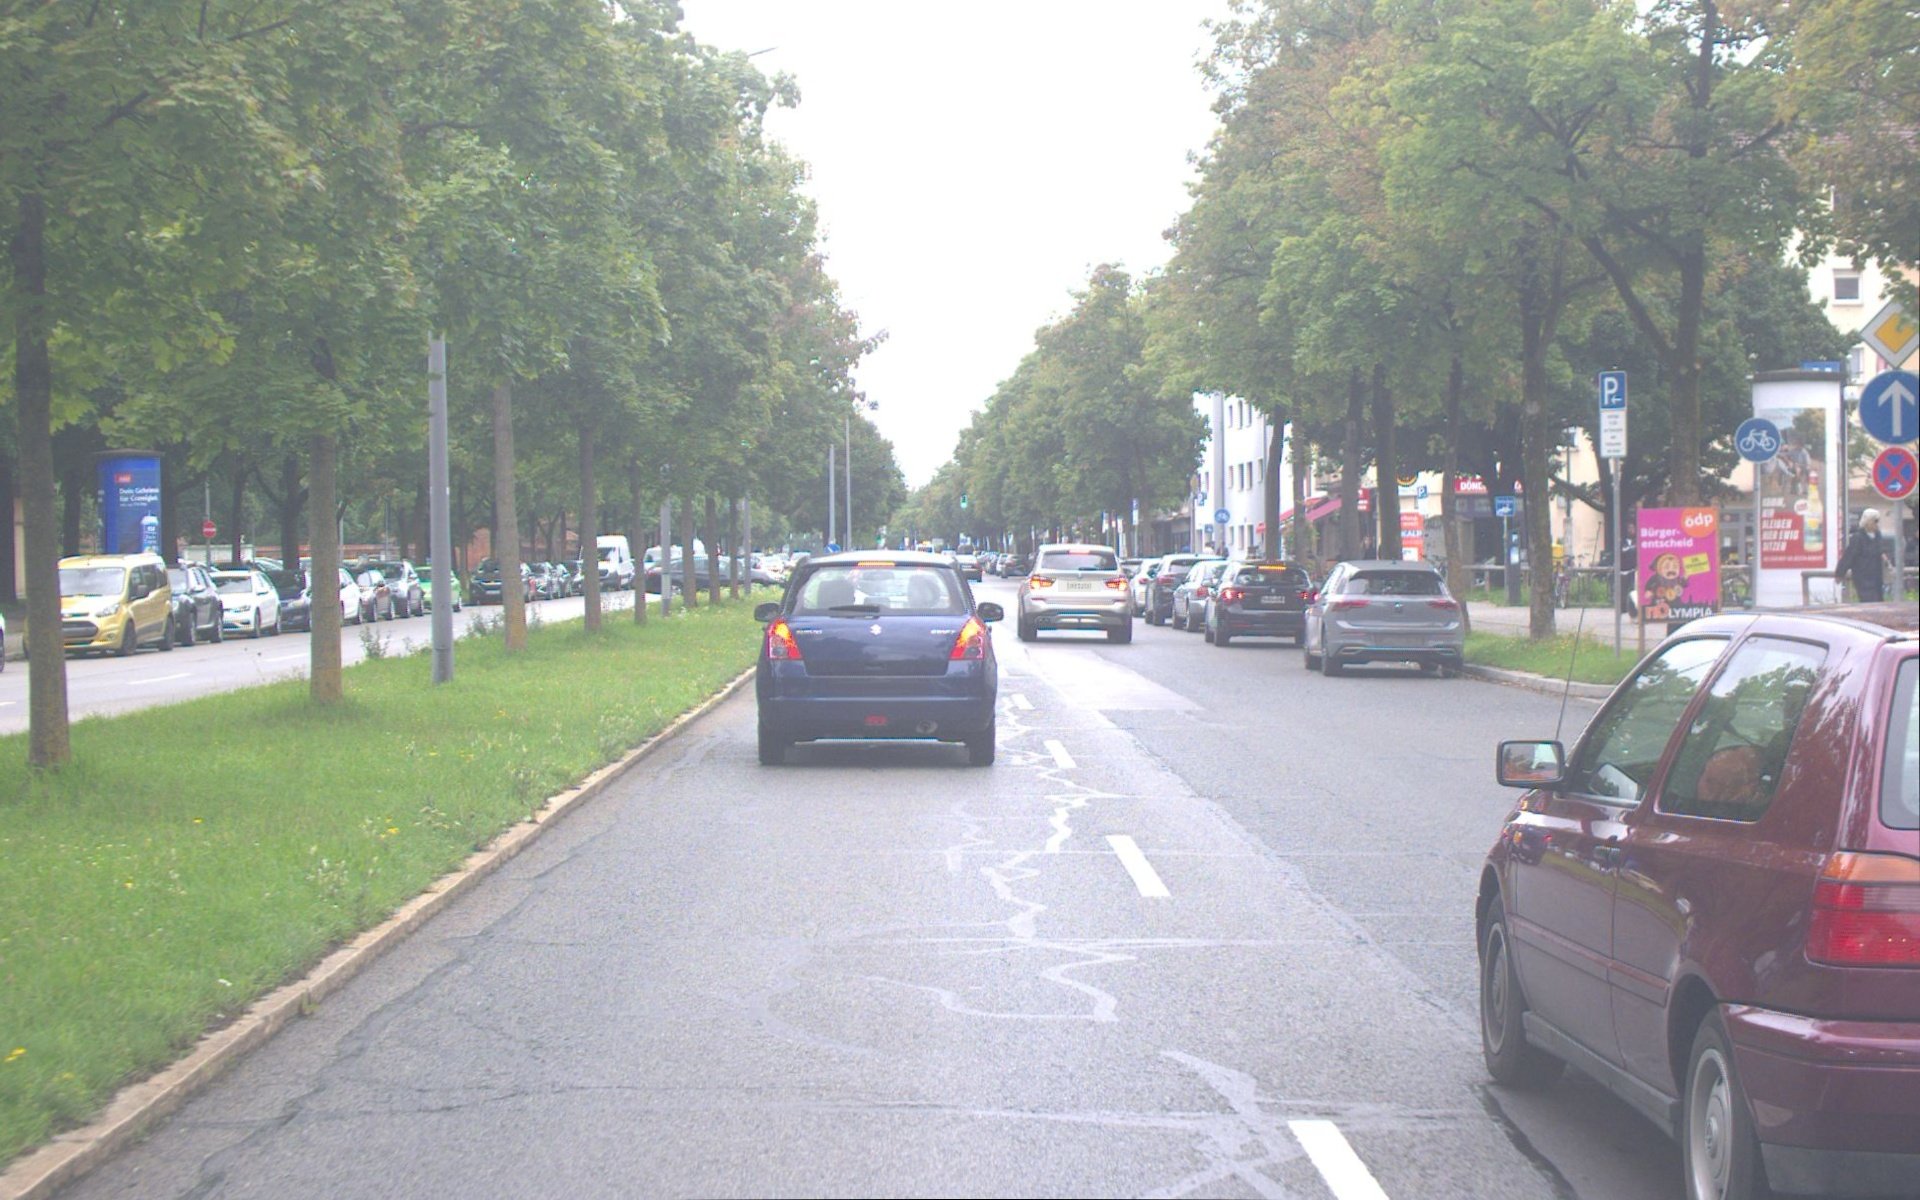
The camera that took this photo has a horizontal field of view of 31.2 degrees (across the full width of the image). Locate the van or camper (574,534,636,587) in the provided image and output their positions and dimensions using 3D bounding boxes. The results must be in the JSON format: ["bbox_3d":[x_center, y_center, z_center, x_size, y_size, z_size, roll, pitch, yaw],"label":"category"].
[{"bbox_3d":[-16.844,-1.866,163.478,2.117,2.473,7.449,1,0,0],"label":"van or camper"}]

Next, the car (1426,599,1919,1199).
[{"bbox_3d":[2.306,0.723,8.366,1.682,1.379,3.919,1,1,-2],"label":"car"}]

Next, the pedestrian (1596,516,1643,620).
[{"bbox_3d":[11.285,-0.553,58.837,0.639,1.743,0.849,-2,1,4],"label":"pedestrian"}]

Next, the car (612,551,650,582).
[{"bbox_3d":[-16.842,-1.726,175.964,1.632,1.577,3.879,0,0,-1],"label":"car"}]

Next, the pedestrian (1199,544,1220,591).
[{"bbox_3d":[10.687,-1.404,147.275,0.794,2.007,1.006,0,1,0],"label":"pedestrian"}]

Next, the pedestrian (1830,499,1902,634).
[{"bbox_3d":[11.673,-0.434,44.299,0.639,1.724,0.601,0,0,-34],"label":"pedestrian"}]

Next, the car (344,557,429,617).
[{"bbox_3d":[-16.044,-0.381,96.353,1.690,1.581,4.371,-2,1,-1],"label":"car"}]

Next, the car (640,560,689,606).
[{"bbox_3d":[-12.975,-0.751,151.122,1.799,1.927,4.994,-2,1,-1],"label":"car"}]

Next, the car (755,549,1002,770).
[{"bbox_3d":[-0.610,0.372,25.320,1.682,1.496,3.919,0,1,-2],"label":"car"}]

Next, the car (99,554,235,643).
[{"bbox_3d":[-15.692,-0.061,68.209,1.736,1.640,4.256,-2,1,-1],"label":"car"}]

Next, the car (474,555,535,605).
[{"bbox_3d":[-16.148,-0.713,122.012,1.716,1.735,3.879,0,0,-1],"label":"car"}]

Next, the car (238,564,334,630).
[{"bbox_3d":[-15.575,-0.082,79.582,1.613,1.412,3.898,-2,1,-3],"label":"car"}]

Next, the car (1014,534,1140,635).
[{"bbox_3d":[1.983,-0.292,59.311,1.865,1.655,4.408,1,1,-2],"label":"car"}]

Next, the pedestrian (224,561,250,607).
[{"bbox_3d":[-24.267,-0.529,115.421,0.727,1.528,0.721,1,0,0],"label":"pedestrian"}]

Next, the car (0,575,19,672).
[{"bbox_3d":[-15.516,0.409,50.957,1.857,1.467,4.875,-2,1,-1],"label":"car"}]

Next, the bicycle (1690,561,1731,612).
[{"bbox_3d":[15.471,-0.283,70.918,0.431,1.025,1.884,-1,1,0],"label":"bicycle"}]

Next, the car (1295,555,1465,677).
[{"bbox_3d":[5.356,0.165,44.257,1.682,1.460,4.115,1,1,0],"label":"car"}]

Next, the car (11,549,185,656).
[{"bbox_3d":[-15.387,0.013,61.606,1.814,1.777,4.818,-2,1,0],"label":"car"}]

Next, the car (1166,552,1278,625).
[{"bbox_3d":[5.188,-0.252,68.444,1.635,1.381,4.245,1,1,-3],"label":"car"}]

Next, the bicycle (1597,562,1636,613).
[{"bbox_3d":[13.600,-0.261,71.247,0.431,1.025,1.884,-1,1,0],"label":"bicycle"}]

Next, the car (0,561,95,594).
[{"bbox_3d":[-41.140,-1.007,153.345,4.691,1.441,1.673,1,0,0],"label":"car"}]

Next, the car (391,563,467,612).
[{"bbox_3d":[-16.146,-0.399,104.686,1.547,1.404,3.879,-2,1,2],"label":"car"}]

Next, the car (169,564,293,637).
[{"bbox_3d":[-15.736,-0.004,74.385,1.762,1.445,4.533,-2,1,-1],"label":"car"}]

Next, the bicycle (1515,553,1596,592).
[{"bbox_3d":[14.467,-0.667,83.562,1.877,0.936,0.558,1,0,1],"label":"bicycle"}]

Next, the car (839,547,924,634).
[{"bbox_3d":[-1.378,-0.182,60.110,1.444,1.478,3.107,0,1,-2],"label":"car"}]

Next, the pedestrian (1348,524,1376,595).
[{"bbox_3d":[10.692,-1.075,91.520,0.588,1.883,0.902,-1,0,-2],"label":"pedestrian"}]

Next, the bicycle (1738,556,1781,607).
[{"bbox_3d":[16.502,-0.388,70.984,0.431,1.025,1.884,-1,1,0],"label":"bicycle"}]

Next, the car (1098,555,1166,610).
[{"bbox_3d":[4.732,-0.495,95.120,1.617,1.460,3.674,1,0,-1],"label":"car"}]

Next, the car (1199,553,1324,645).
[{"bbox_3d":[5.047,-0.050,58.039,1.750,1.460,4.176,1,1,0],"label":"car"}]

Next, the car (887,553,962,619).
[{"bbox_3d":[-0.803,-0.341,78.985,1.682,1.458,3.734,0,1,0],"label":"car"}]

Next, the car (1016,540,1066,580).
[{"bbox_3d":[3.497,-1.747,148.482,1.865,1.677,4.225,-1,1,-2],"label":"car"}]

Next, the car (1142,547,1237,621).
[{"bbox_3d":[4.946,-0.373,74.475,1.716,1.528,4.276,1,1,-1],"label":"car"}]

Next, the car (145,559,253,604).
[{"bbox_3d":[-29.728,-0.739,134.367,3.918,1.712,1.673,0,0,-6],"label":"car"}]

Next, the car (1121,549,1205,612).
[{"bbox_3d":[4.986,-0.494,84.724,1.682,1.460,4.137,2,1,-1],"label":"car"}]

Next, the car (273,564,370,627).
[{"bbox_3d":[-15.857,-0.125,85.507,1.607,1.439,4.279,-2,1,0],"label":"car"}]

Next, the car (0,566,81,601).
[{"bbox_3d":[-32.964,-0.571,120.355,4.413,1.197,1.670,1,0,31],"label":"car"}]

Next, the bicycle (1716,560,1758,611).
[{"bbox_3d":[16.020,-0.308,70.906,0.431,1.025,1.884,-1,1,0],"label":"bicycle"}]

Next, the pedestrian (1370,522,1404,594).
[{"bbox_3d":[11.373,-1.109,91.547,0.729,1.883,0.919,-1,0,-2],"label":"pedestrian"}]

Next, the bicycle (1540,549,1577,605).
[{"bbox_3d":[12.533,-0.485,72.007,0.431,1.129,1.884,-1,1,0],"label":"bicycle"}]

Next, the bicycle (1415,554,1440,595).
[{"bbox_3d":[12.561,-0.685,92.389,0.389,1.101,1.853,1,0,0],"label":"bicycle"}]

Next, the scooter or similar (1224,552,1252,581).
[{"bbox_3d":[12.371,-1.502,153.084,1.033,1.303,2.755,0,1,0],"label":"scooter or similar"}]

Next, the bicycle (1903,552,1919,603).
[{"bbox_3d":[19.894,-0.459,70.796,0.431,1.025,1.884,-1,1,0],"label":"bicycle"}]
